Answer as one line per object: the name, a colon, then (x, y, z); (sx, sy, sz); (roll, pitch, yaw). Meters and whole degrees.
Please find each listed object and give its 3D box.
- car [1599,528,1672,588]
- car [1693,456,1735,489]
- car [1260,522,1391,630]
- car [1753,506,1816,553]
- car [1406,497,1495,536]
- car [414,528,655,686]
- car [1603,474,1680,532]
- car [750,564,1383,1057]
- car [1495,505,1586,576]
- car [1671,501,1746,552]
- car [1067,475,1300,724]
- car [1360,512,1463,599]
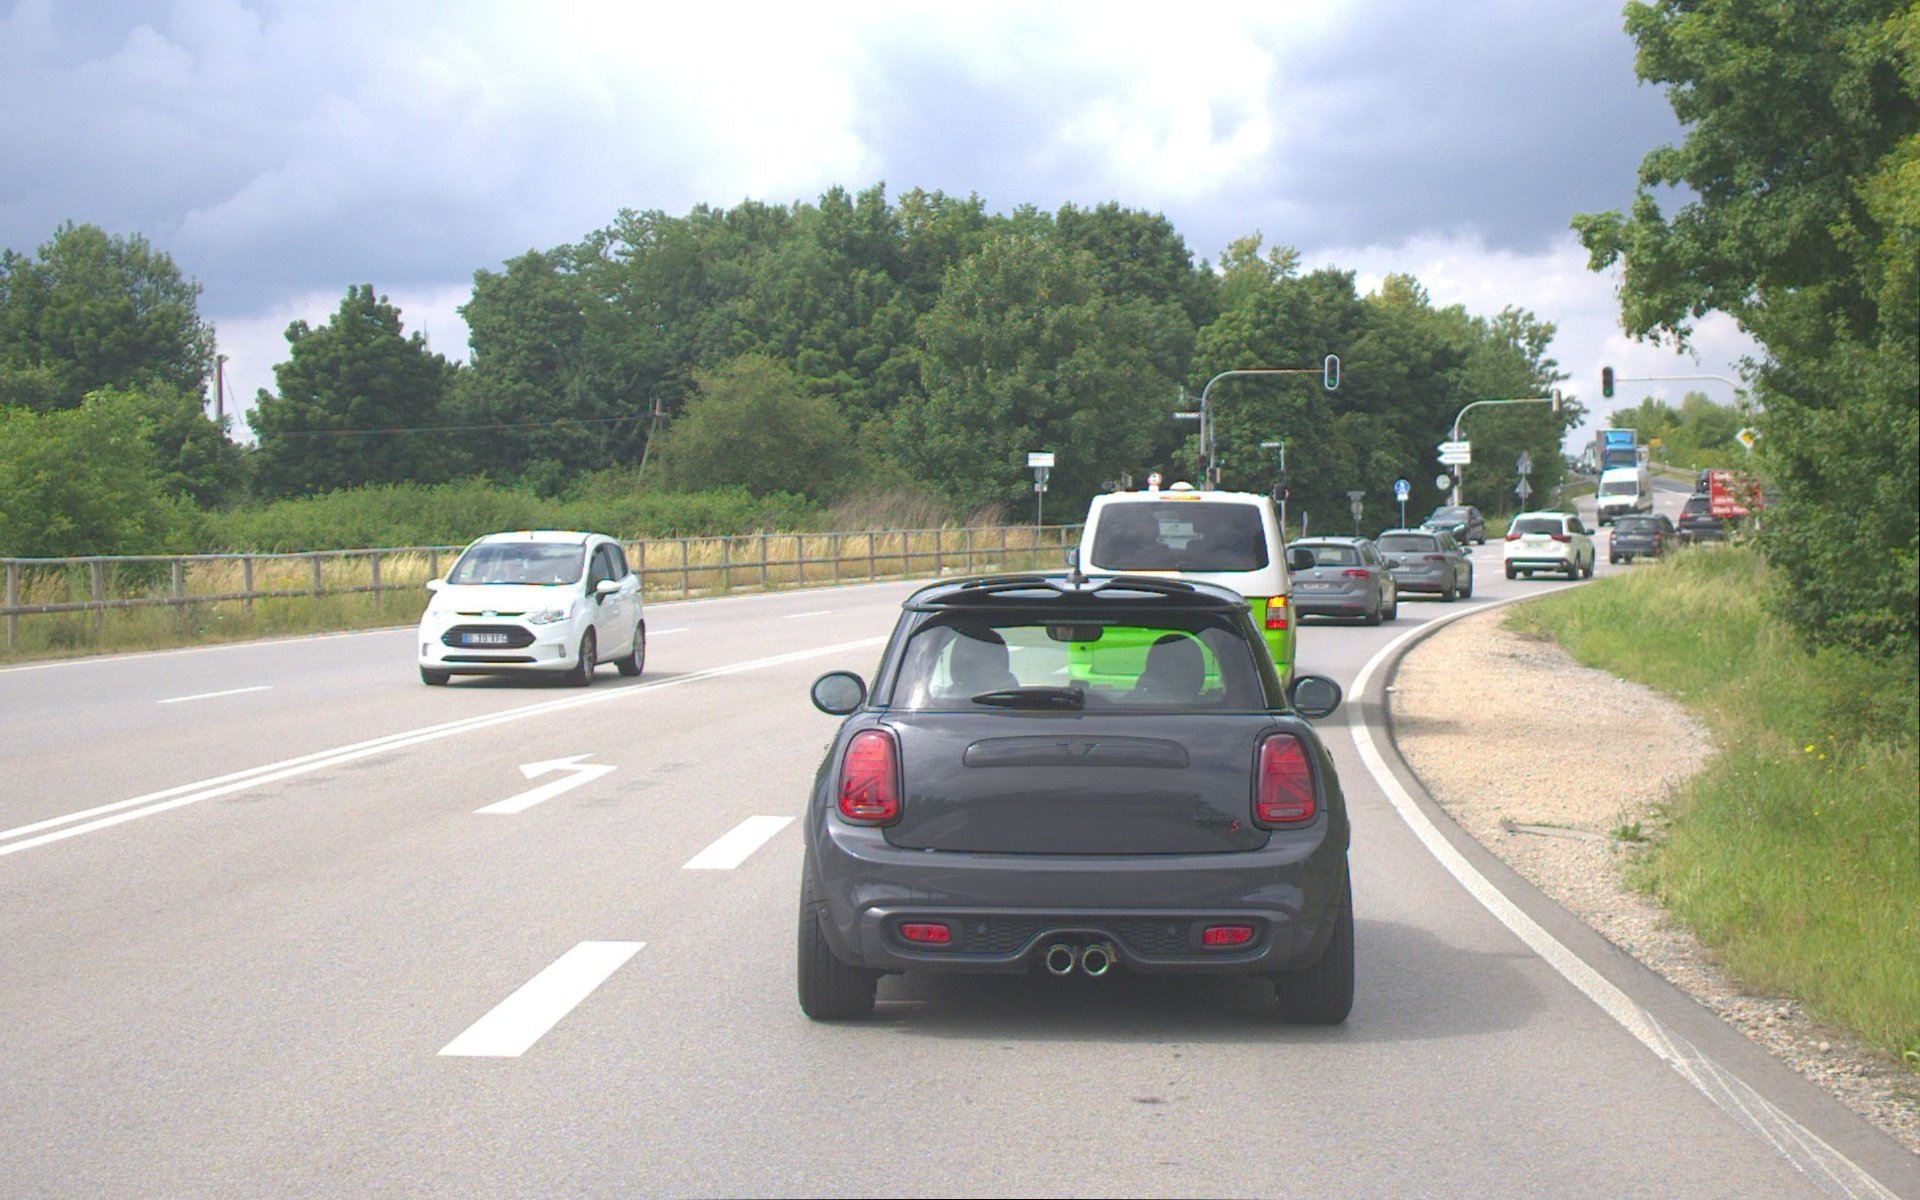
car: (19.907, -1.219, 101.249); (1.994, 1.678, 3.998); (2, 1, 12)
car: (48.653, -8.231, 221.936); (1.994, 2.007, 4.000); (1, 0, 3)
car: (6.014, -0.399, 56.940); (1.994, 1.678, 3.999); (2, 1, 4)
car: (32.262, -2.732, 134.432); (1.995, 1.690, 4.481); (3, 1, 18)
car: (18.350, -3.123, 128.537); (1.811, 1.436, 4.346); (1, 2, 30)
car: (-4.395, 0.035, 36.046); (1.730, 1.513, 4.000); (2, 1, 4)
car: (32.487, -4.619, 163.687); (2.436, 2.665, 6.881); (1, 2, 21)
car: (0.359, 0.602, 12.063); (1.845, 1.423, 3.841); (1, 0, 1)
car: (14.654, -1.485, 86.594); (1.995, 1.678, 3.998); (2, 1, 13)
car: (25.638, -2.547, 117.616); (1.995, 1.690, 4.482); (1, 2, 19)
car: (1.905, -0.036, 29.700); (1.845, 1.980, 3.841); (1, 1, 3)
car: (9.282, -0.912, 70.536); (1.994, 1.678, 3.976); (2, 1, 8)
